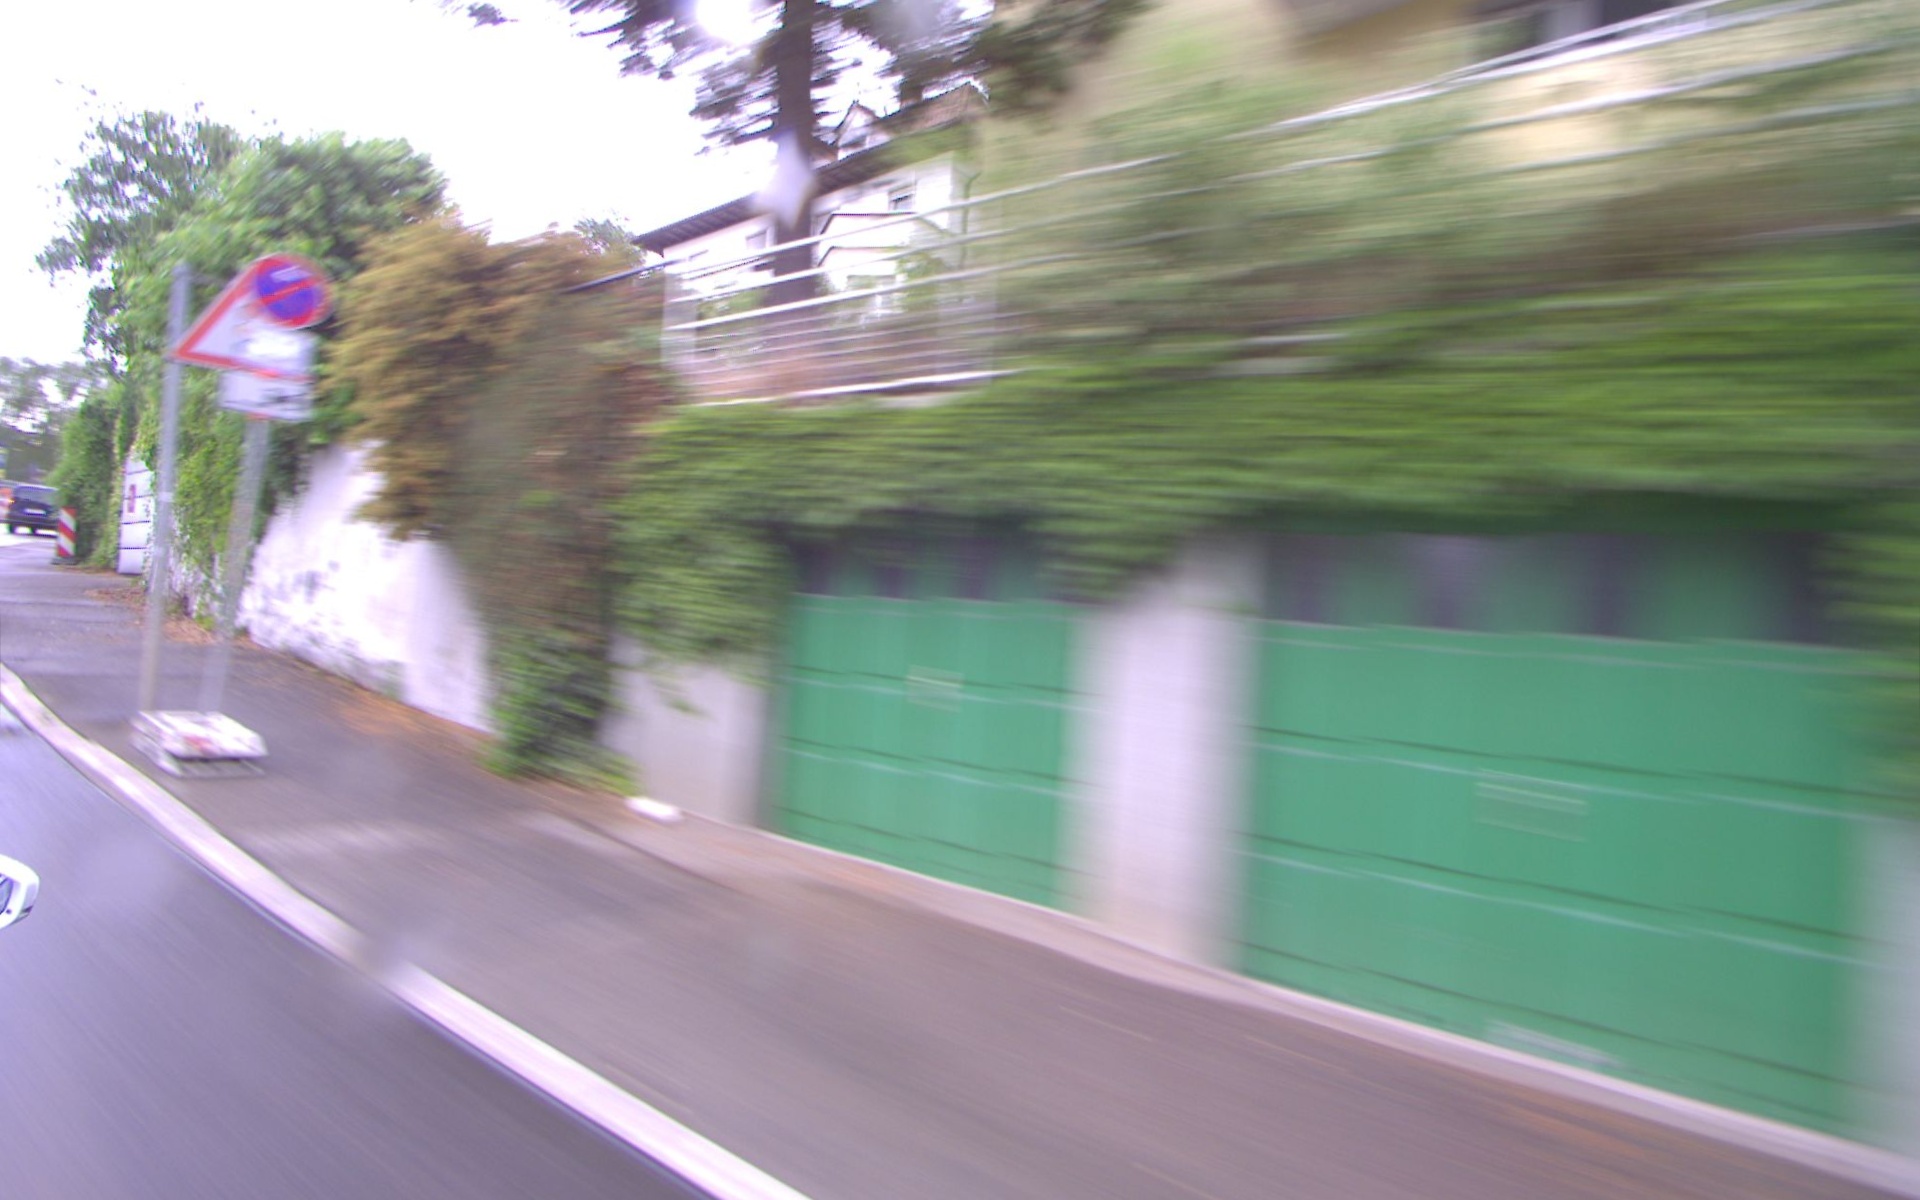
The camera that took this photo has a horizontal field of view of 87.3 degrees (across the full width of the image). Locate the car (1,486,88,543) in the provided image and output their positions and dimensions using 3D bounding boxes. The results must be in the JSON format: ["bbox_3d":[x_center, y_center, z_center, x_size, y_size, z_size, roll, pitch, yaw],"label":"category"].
[{"bbox_3d":[-34.791,-3.228,38.328,1.716,1.920,4.021,3,2,-32],"label":"car"}]
